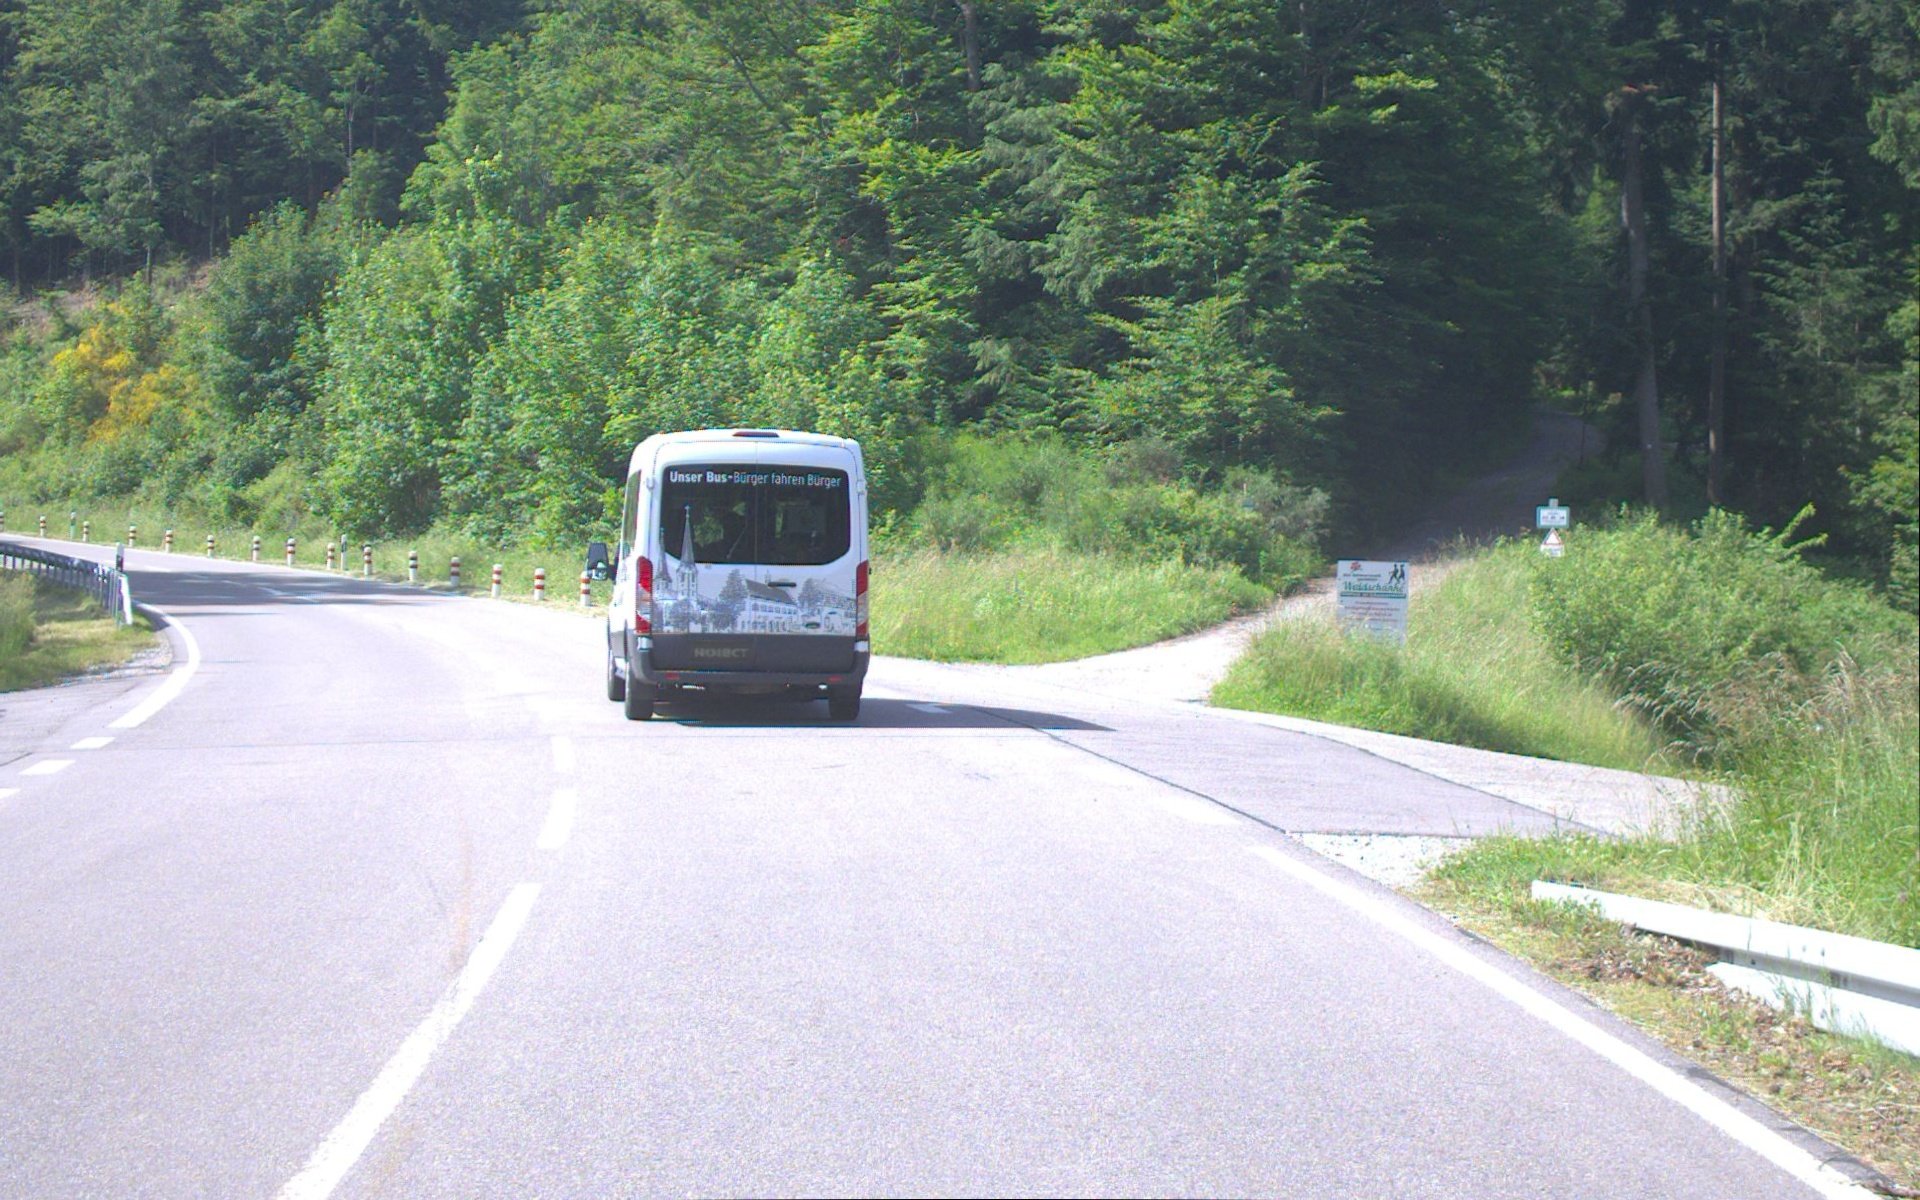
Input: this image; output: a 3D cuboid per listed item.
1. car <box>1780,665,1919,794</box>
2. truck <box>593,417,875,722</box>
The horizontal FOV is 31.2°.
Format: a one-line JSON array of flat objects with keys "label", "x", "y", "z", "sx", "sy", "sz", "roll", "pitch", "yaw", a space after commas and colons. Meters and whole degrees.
[{"label": "car", "x": 14.015, "y": 1.939, "z": 52.528, "sx": 1.936, "sy": 1.588, "sz": 3.994, "roll": 7, "pitch": 3, "yaw": 25}, {"label": "truck", "x": -2.132, "y": -0.294, "z": 30.879, "sx": 2.115, "sy": 2.489, "sz": 5.361, "roll": 0, "pitch": 1, "yaw": -8}]
